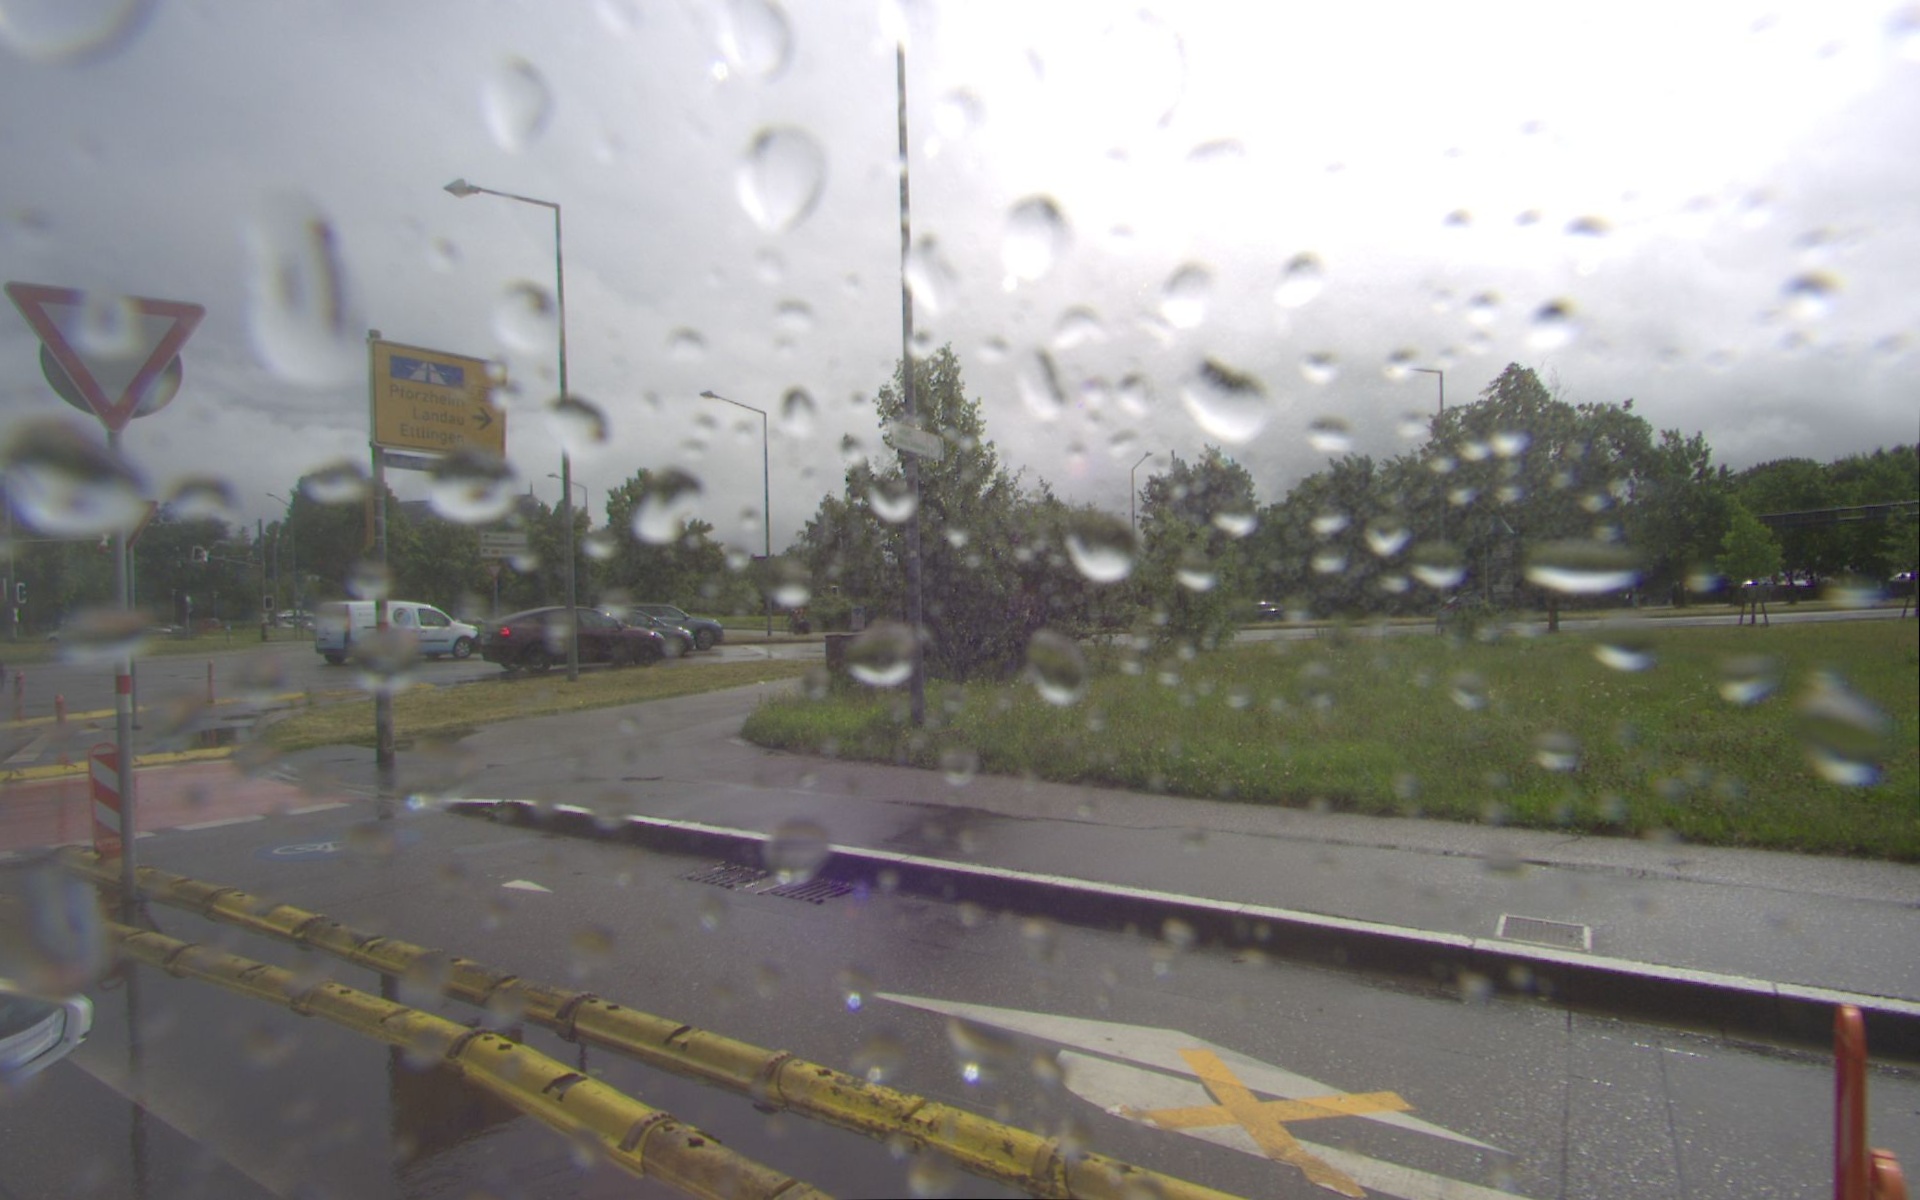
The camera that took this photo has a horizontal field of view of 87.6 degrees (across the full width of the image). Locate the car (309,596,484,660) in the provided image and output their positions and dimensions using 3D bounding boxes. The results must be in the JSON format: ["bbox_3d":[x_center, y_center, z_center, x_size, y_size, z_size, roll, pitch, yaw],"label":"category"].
[{"bbox_3d":[-17.184,0.813,30.772,1.841,1.833,4.386,-1,0,28],"label":"car"}]

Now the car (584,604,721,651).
[{"bbox_3d":[-10.971,0.942,35.816,4.348,1.568,1.857,0,0,-36],"label":"car"}]

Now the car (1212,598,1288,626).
[{"bbox_3d":[17.320,0.715,59.797,4.157,1.580,1.541,-1,0,-14],"label":"car"}]

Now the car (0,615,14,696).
[{"bbox_3d":[-18.489,1.033,17.437,1.712,1.534,3.593,-1,0,-22],"label":"car"}]

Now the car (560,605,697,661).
[{"bbox_3d":[-10.512,1.016,31.786,3.897,1.666,1.662,0,0,-30],"label":"car"}]

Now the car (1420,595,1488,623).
[{"bbox_3d":[29.470,0.512,59.751,3.459,1.580,1.541,-1,0,-14],"label":"car"}]

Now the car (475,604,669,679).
[{"bbox_3d":[-10.085,1.013,26.197,4.311,1.748,1.981,-1,0,-43],"label":"car"}]

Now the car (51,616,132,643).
[{"bbox_3d":[-53.135,1.797,61.298,3.520,1.568,1.734,-1,0,2],"label":"car"}]
